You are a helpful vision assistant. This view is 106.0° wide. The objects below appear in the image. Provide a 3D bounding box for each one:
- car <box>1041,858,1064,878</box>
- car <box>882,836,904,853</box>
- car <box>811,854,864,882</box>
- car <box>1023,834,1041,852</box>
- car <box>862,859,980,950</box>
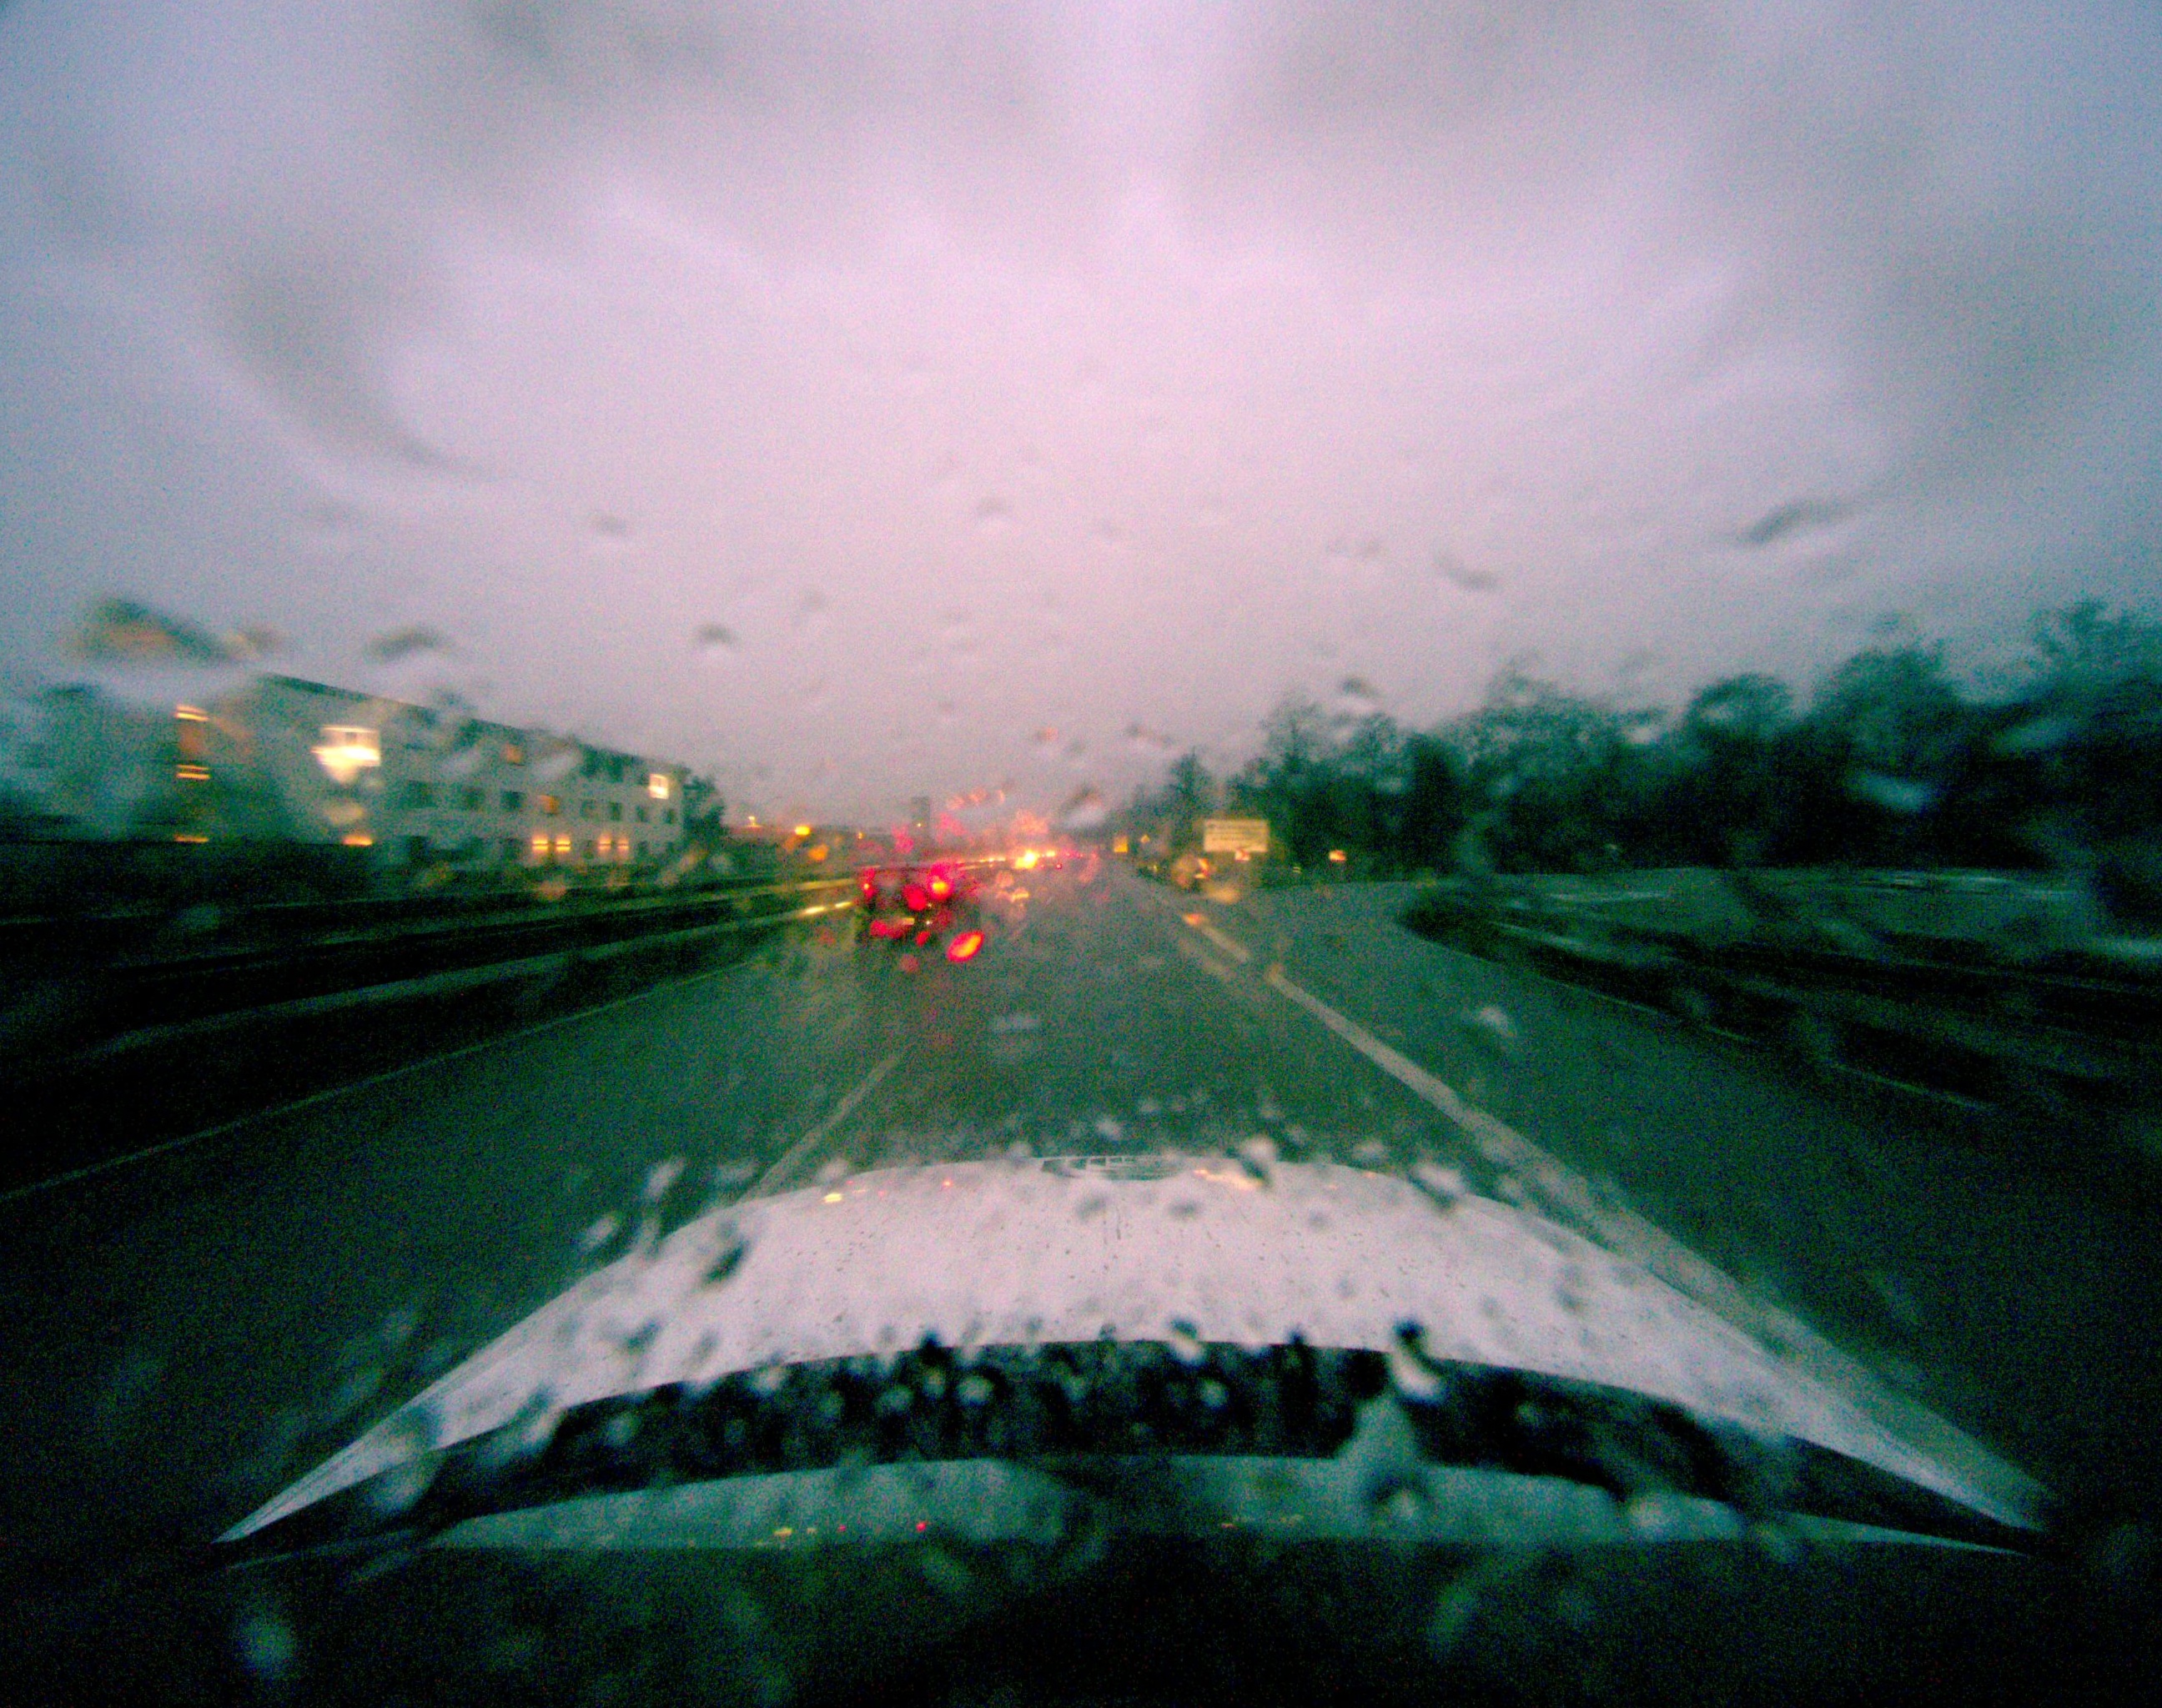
[{"bbox_3d":[-2.257,1.100,65.251,1.771,1.534,4.700,-1,0,-1],"label":"car"},{"bbox_3d":[-20.772,-1.021,90.007,1.888,1.821,3.864,2,0,-7],"label":"car"},{"bbox_3d":[-12.882,0.706,43.267,1.604,1.400,3.621,-1,1,1],"label":"car"},{"bbox_3d":[-5.977,-1.272,98.645,2.119,2.120,3.569,0,0,-5],"label":"car"},{"bbox_3d":[-2.899,0.859,15.409,1.523,1.415,3.478,2,1,-1],"label":"car"}]
